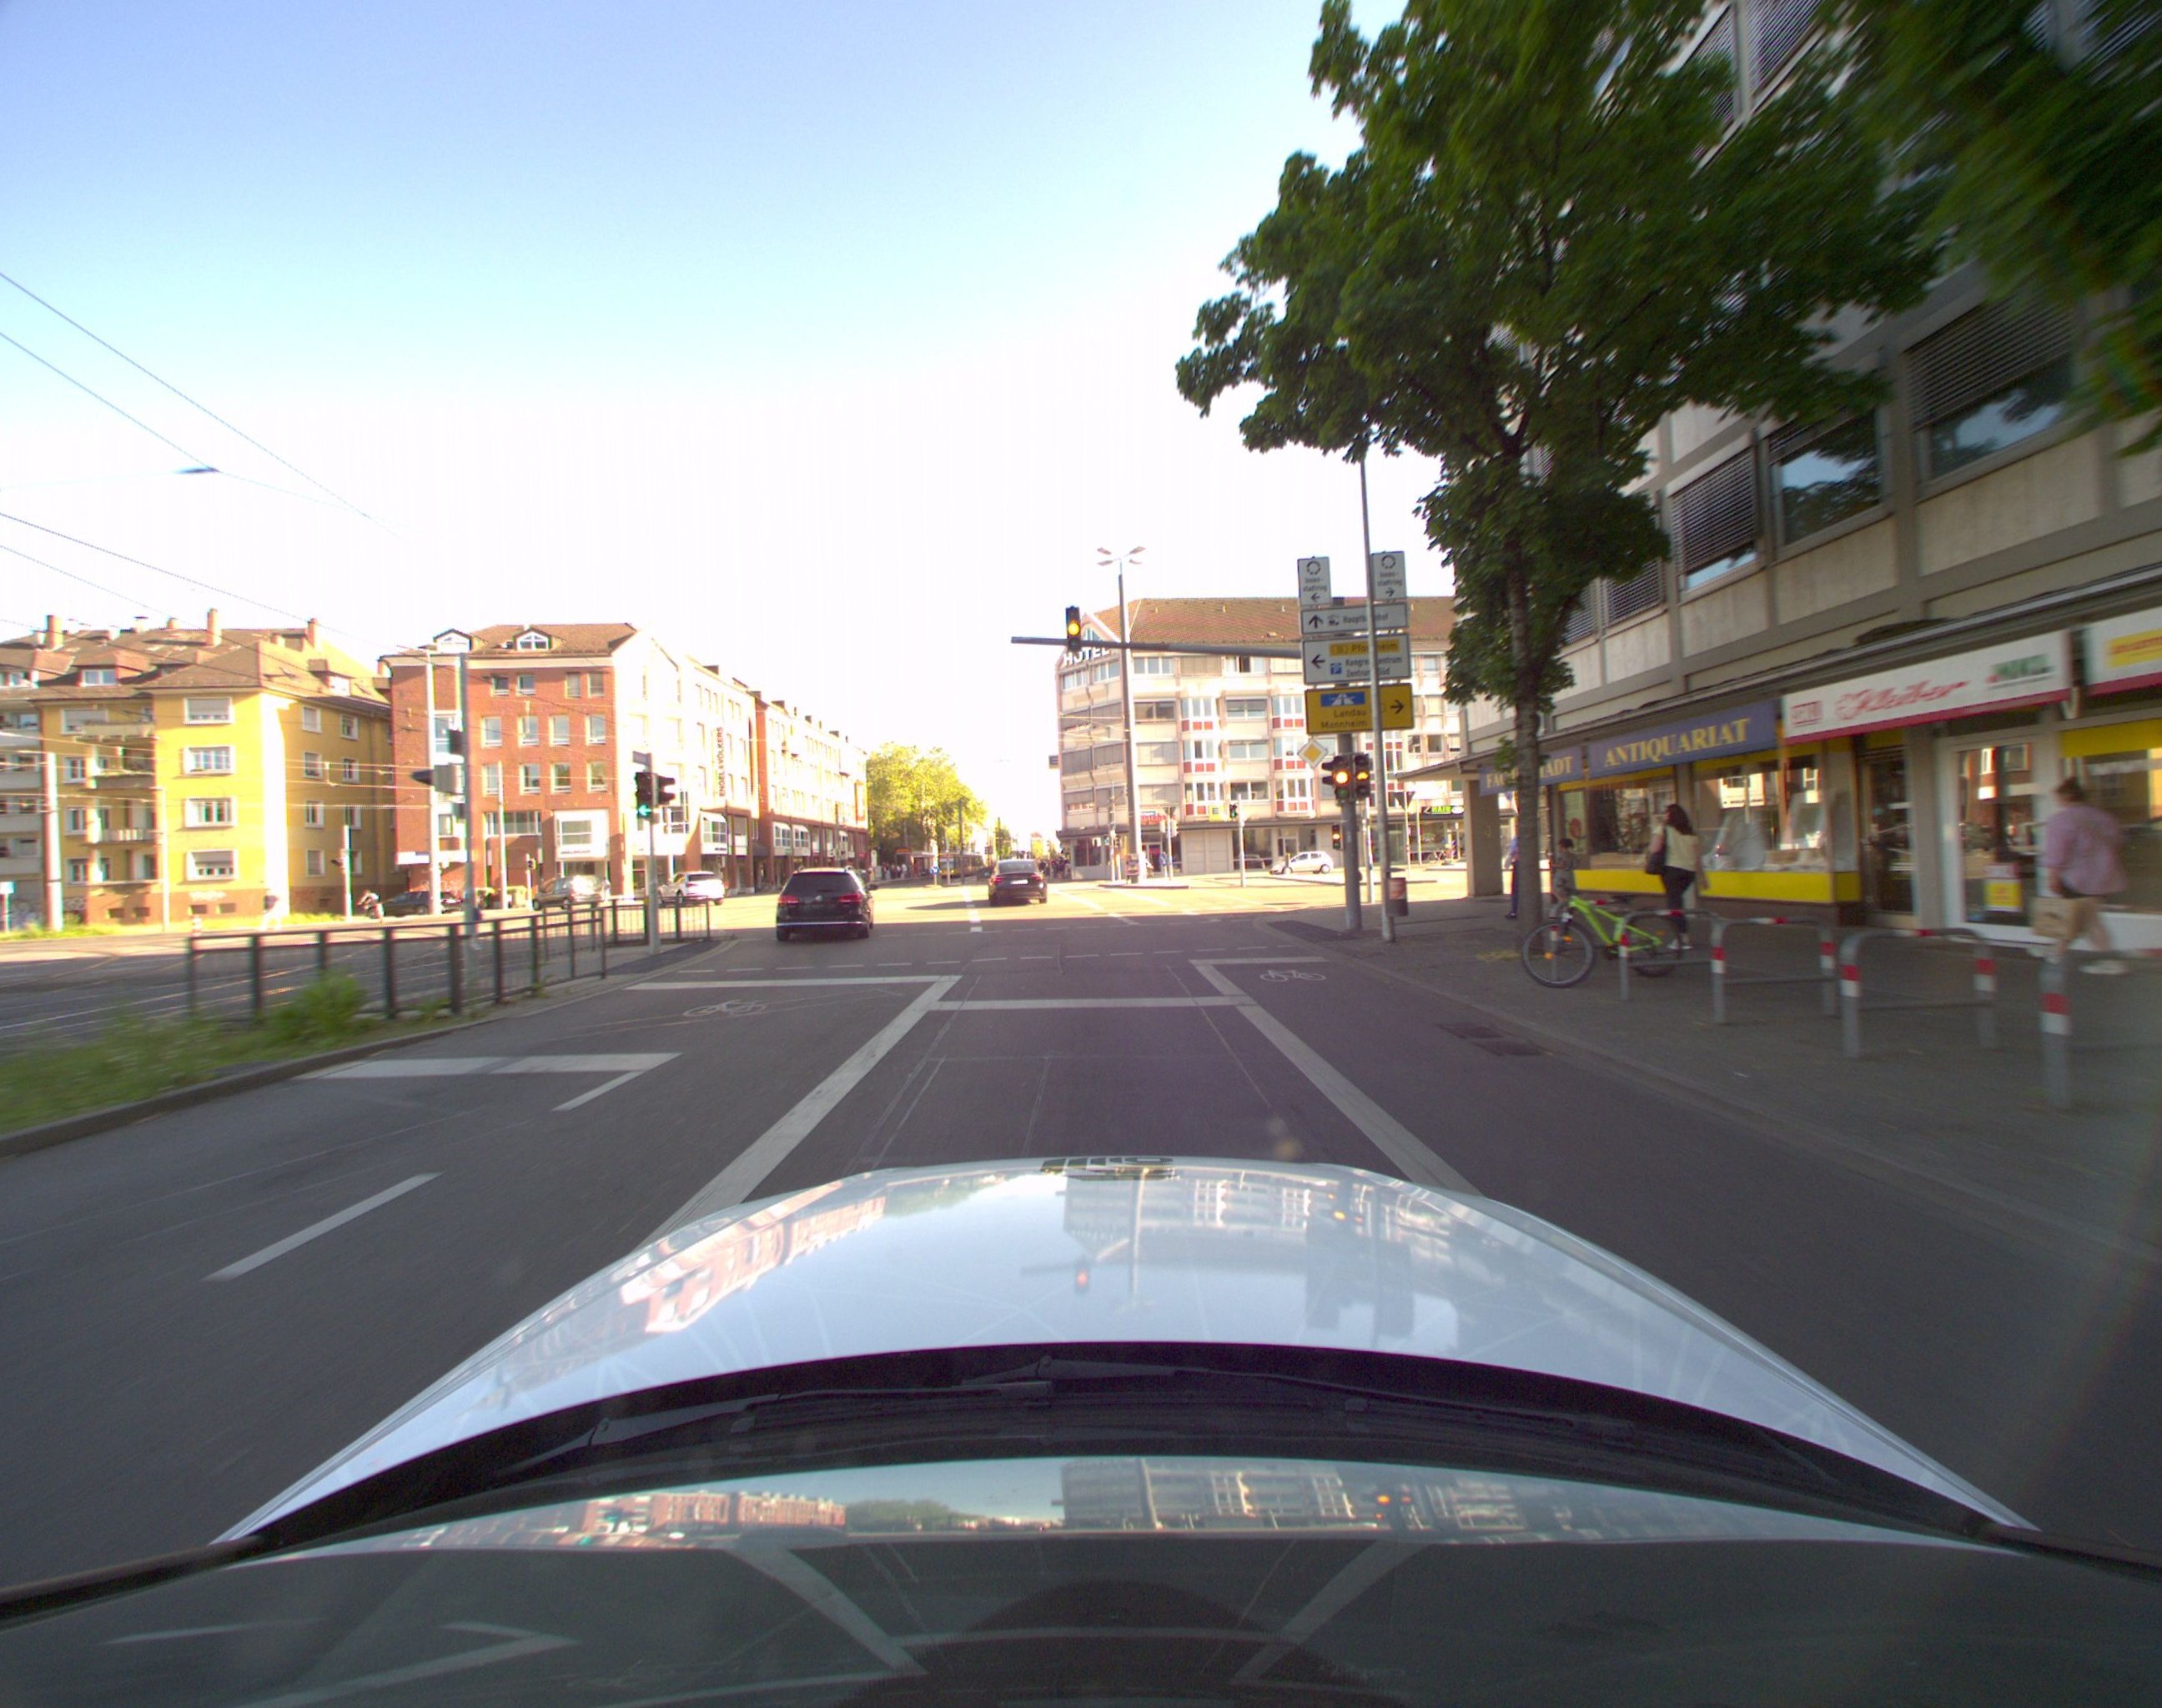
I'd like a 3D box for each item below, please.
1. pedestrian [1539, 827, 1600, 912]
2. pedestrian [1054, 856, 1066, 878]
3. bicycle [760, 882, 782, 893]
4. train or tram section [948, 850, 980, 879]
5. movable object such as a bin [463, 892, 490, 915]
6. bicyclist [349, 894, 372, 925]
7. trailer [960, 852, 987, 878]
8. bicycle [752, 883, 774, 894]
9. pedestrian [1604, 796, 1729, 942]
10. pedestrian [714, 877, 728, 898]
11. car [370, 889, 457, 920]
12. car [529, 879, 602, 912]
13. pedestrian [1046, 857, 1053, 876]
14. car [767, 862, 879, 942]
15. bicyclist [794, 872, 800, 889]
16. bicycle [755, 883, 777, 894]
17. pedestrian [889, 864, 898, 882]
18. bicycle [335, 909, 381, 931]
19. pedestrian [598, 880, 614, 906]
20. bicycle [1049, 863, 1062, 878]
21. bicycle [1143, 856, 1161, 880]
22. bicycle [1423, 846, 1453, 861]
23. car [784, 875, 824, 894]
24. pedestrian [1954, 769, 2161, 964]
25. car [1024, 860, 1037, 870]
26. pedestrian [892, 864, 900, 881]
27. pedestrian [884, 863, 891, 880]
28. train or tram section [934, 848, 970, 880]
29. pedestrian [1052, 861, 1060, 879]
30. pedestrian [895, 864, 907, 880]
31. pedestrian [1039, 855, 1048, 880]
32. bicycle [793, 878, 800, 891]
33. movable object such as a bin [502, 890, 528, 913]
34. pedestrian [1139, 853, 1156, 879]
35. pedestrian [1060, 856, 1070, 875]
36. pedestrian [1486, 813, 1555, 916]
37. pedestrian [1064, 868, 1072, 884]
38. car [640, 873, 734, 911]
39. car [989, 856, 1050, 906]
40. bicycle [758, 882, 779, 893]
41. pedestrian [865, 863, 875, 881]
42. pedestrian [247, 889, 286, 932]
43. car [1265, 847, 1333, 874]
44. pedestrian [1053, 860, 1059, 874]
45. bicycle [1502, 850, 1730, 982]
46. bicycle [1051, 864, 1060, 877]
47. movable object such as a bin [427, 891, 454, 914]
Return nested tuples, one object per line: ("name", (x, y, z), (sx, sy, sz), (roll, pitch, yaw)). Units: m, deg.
("pedestrian", (8.517, 0.271, 14.208), (0.642, 1.422, 0.621), (-2, -1, 3))
("pedestrian", (-1.702, 1.062, 66.696), (0.911, 1.755, 0.839), (-2, -1, 1))
("bicycle", (-27.952, 3.036, 73.476), (1.755, 0.900, 0.585), (-2, -1, -3))
("train or tram section", (-15.574, 1.413, 109.090), (2.705, 3.546, 10.164), (-2, -1, -1))
("movable object such as a bin", (-39.990, 3.249, 53.881), (0.995, 1.437, 1.093), (-2, -1, -8))
("bicyclist", (-43.506, 3.340, 49.189), (0.827, 1.772, 0.612), (-2, -1, -9))
("trailer", (-15.636, 1.627, 118.828), (2.705, 3.546, 9.354), (-2, -1, -1))
("bicycle", (-27.855, 3.004, 71.335), (1.706, 0.900, 0.521), (-2, -1, -3))
("pedestrian", (7.209, 0.185, 10.073), (0.840, 1.707, 0.880), (-2, -1, 1))
("pedestrian", (-27.691, 2.574, 62.693), (0.710, 1.594, 0.776), (1, -1, -1))
("car", (-37.670, 2.857, 46.005), (3.450, 1.551, 1.731), (-2, -1, 0))
("car", (-27.474, 2.202, 43.392), (3.735, 1.618, 1.587), (-3, -1, 28))
("pedestrian", (-2.698, 1.052, 69.038), (0.471, 1.563, 0.543), (-2, -1, -9))
("car", (-5.335, 0.911, 17.365), (1.765, 1.444, 4.511), (-1, -1, -11))
("bicyclist", (-25.926, 2.429, 74.267), (0.484, 1.470, 0.714), (-1, -2, -22))
("bicycle", (-27.872, 3.013, 72.052), (1.706, 0.900, 0.521), (-2, -1, -3))
("pedestrian", (-19.036, 1.930, 82.743), (0.632, 1.721, 0.586), (-2, -1, 8))
("bicycle", (-43.609, 3.976, 49.151), (2.033, 1.223, 0.627), (-2, -1, -9))
("pedestrian", (-32.796, 2.681, 56.230), (0.687, 1.727, 0.710), (-2, -1, -7))
("bicycle", (-2.103, 1.341, 66.348), (0.489, 1.161, 1.961), (-2, -1, -18))
("bicycle", (4.370, 0.858, 50.261), (0.583, 1.463, 1.678), (-3, -1, -13))
("bicycle", (26.020, -0.044, 59.322), (1.965, 1.049, 0.535), (-2, -1, -7))
("car", (-24.079, 2.658, 70.830), (1.810, 1.454, 3.981), (-4, -1, 3))
("pedestrian", (8.732, 0.113, 7.276), (0.840, 1.602, 0.880), (-2, -1, 1))
("car", (-8.502, 1.850, 138.177), (1.730, 1.665, 3.711), (-2, -1, 2))
("pedestrian", (-18.931, 1.923, 83.364), (0.632, 1.721, 0.610), (-2, -1, 8))
("pedestrian", (-17.931, 1.648, 75.576), (0.584, 1.531, 0.634), (-2, -1, -16))
("train or tram section", (-15.547, 1.227, 98.978), (2.720, 3.542, 10.083), (-2, -1, 0))
("pedestrian", (-2.339, 1.522, 77.520), (0.694, 1.678, 0.749), (-2, -1, 0))
("pedestrian", (-18.858, 1.916, 85.352), (1.105, 1.625, 0.845), (-2, -1, -9))
("pedestrian", (-2.816, 0.997, 60.791), (0.625, 1.782, 0.916), (-2, -1, -4))
("bicycle", (-25.902, 2.778, 74.226), (0.492, 1.158, 1.670), (-1, -1, -22))
("movable object such as a bin", (-37.632, 3.141, 54.126), (0.995, 1.437, 1.093), (-2, -1, -8))
("pedestrian", (4.072, 0.752, 50.139), (0.780, 1.576, 0.864), (-2, 0, -13))
("pedestrian", (-1.410, 0.999, 71.331), (0.687, 1.688, 0.668), (-2, -1, -15))
("pedestrian", (7.671, 0.184, 14.265), (0.836, 1.721, 0.884), (-2, -1, 17))
("pedestrian", (-1.370, 2.335, 85.578), (0.745, 1.678, 0.699), (-2, -1, 0))
("car", (-18.229, 1.750, 37.741), (3.451, 1.635, 1.851), (-2, -1, 12))
("car", (-2.095, 0.829, 26.958), (1.789, 1.450, 3.930), (-3, 0, -7))
("bicycle", (-27.928, 3.031, 72.788), (1.706, 0.900, 0.521), (-2, -1, -3))
("pedestrian", (-19.075, 1.634, 73.662), (0.630, 1.564, 0.588), (-3, -2, 21))
("pedestrian", (-33.713, 2.314, 33.720), (0.694, 1.710, 0.928), (-2, -1, -5))
("car", (13.896, 0.433, 52.053), (3.833, 1.432, 1.801), (-2, -3, -4))
("pedestrian", (-3.348, 1.752, 108.716), (0.694, 1.896, 0.749), (-2, -1, 0))
("bicycle", (5.381, 0.615, 8.246), (1.882, 1.156, 0.480), (-4, -1, 2))
("bicycle", (-2.183, 1.402, 68.738), (0.488, 1.102, 2.118), (-2, -1, -9))
("movable object such as a bin", (-42.278, 3.226, 53.770), (0.995, 1.437, 1.093), (-2, -1, -8))
